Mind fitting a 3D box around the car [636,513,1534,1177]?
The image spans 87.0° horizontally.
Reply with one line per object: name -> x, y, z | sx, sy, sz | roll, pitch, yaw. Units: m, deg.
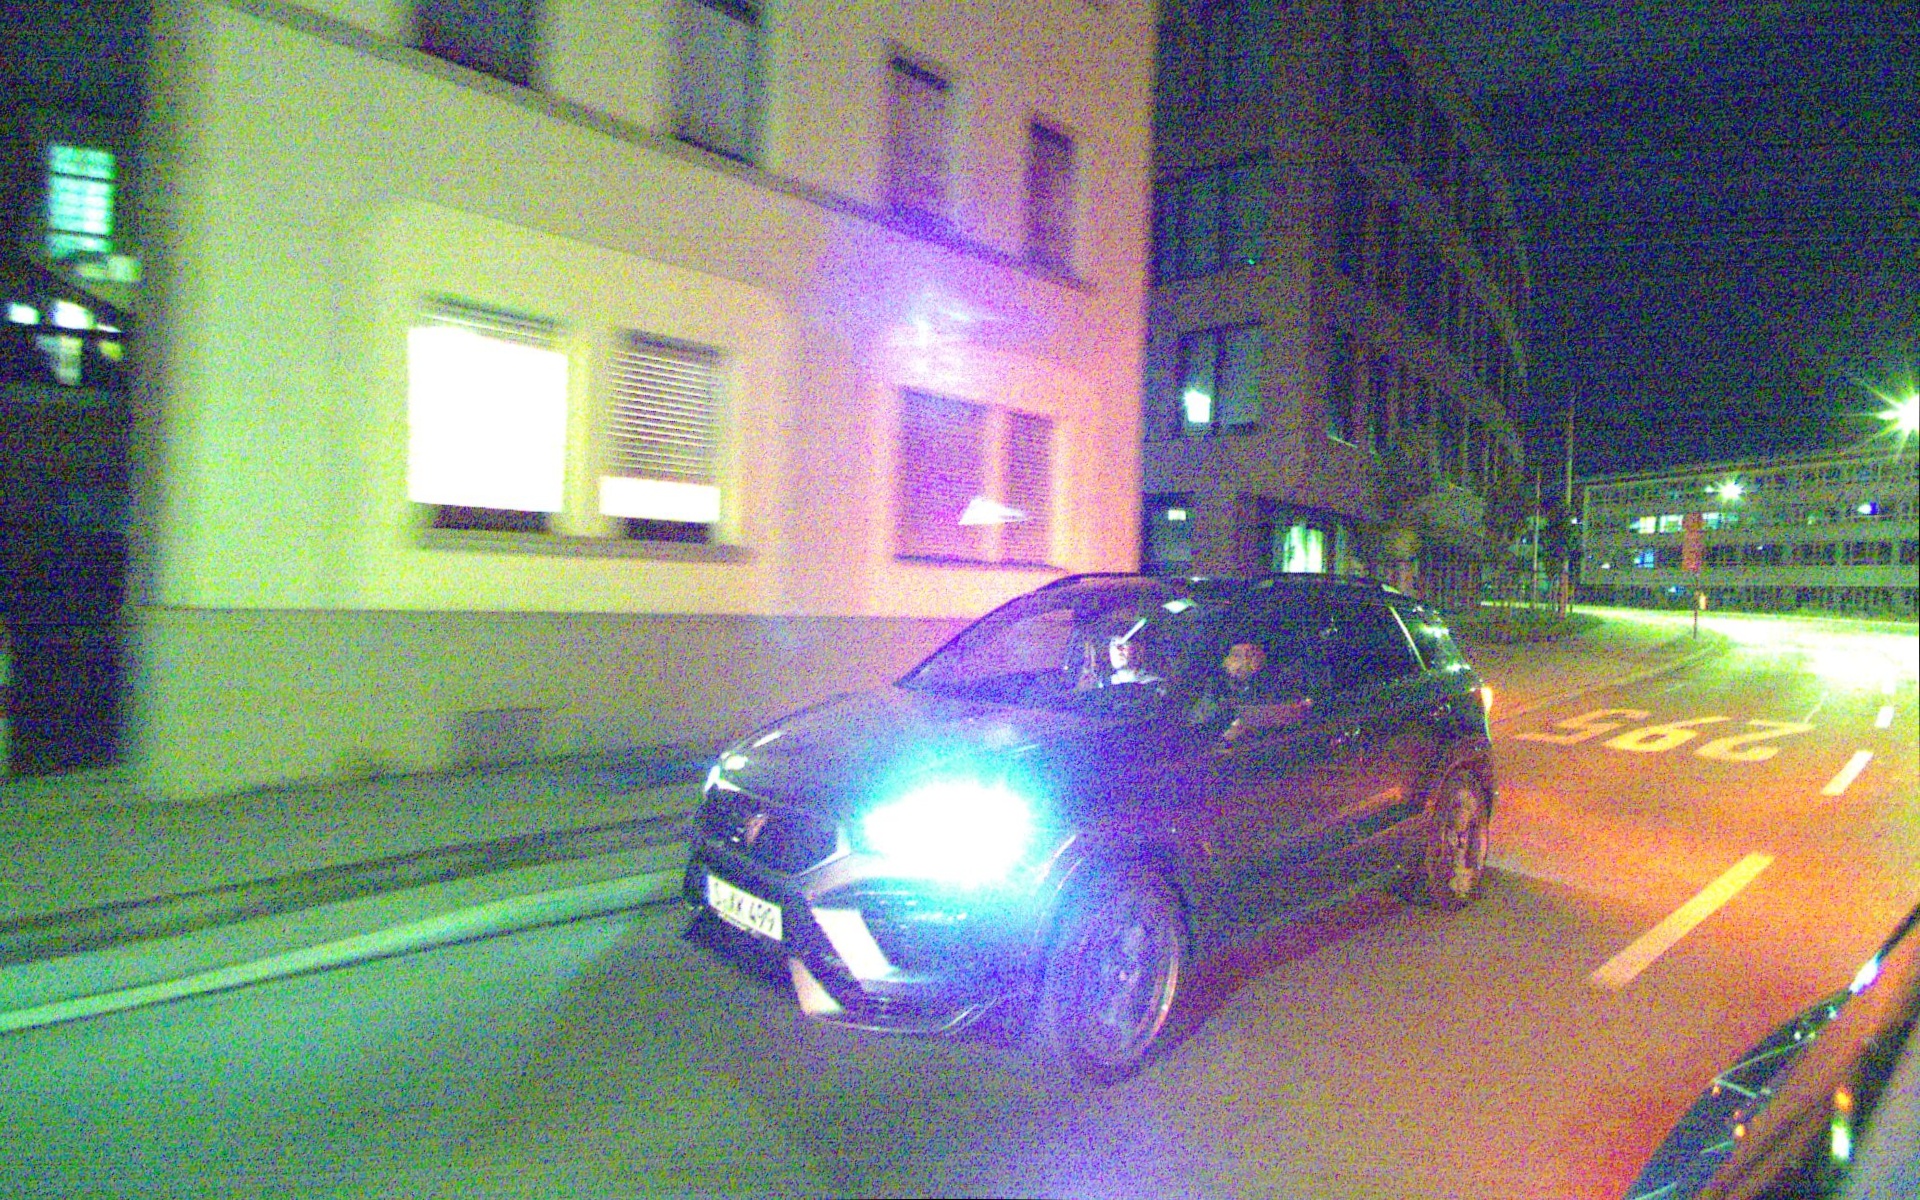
car -> 0.896, 0.555, 4.503 | 4.157, 1.630, 1.672 | -1, 2, -42
